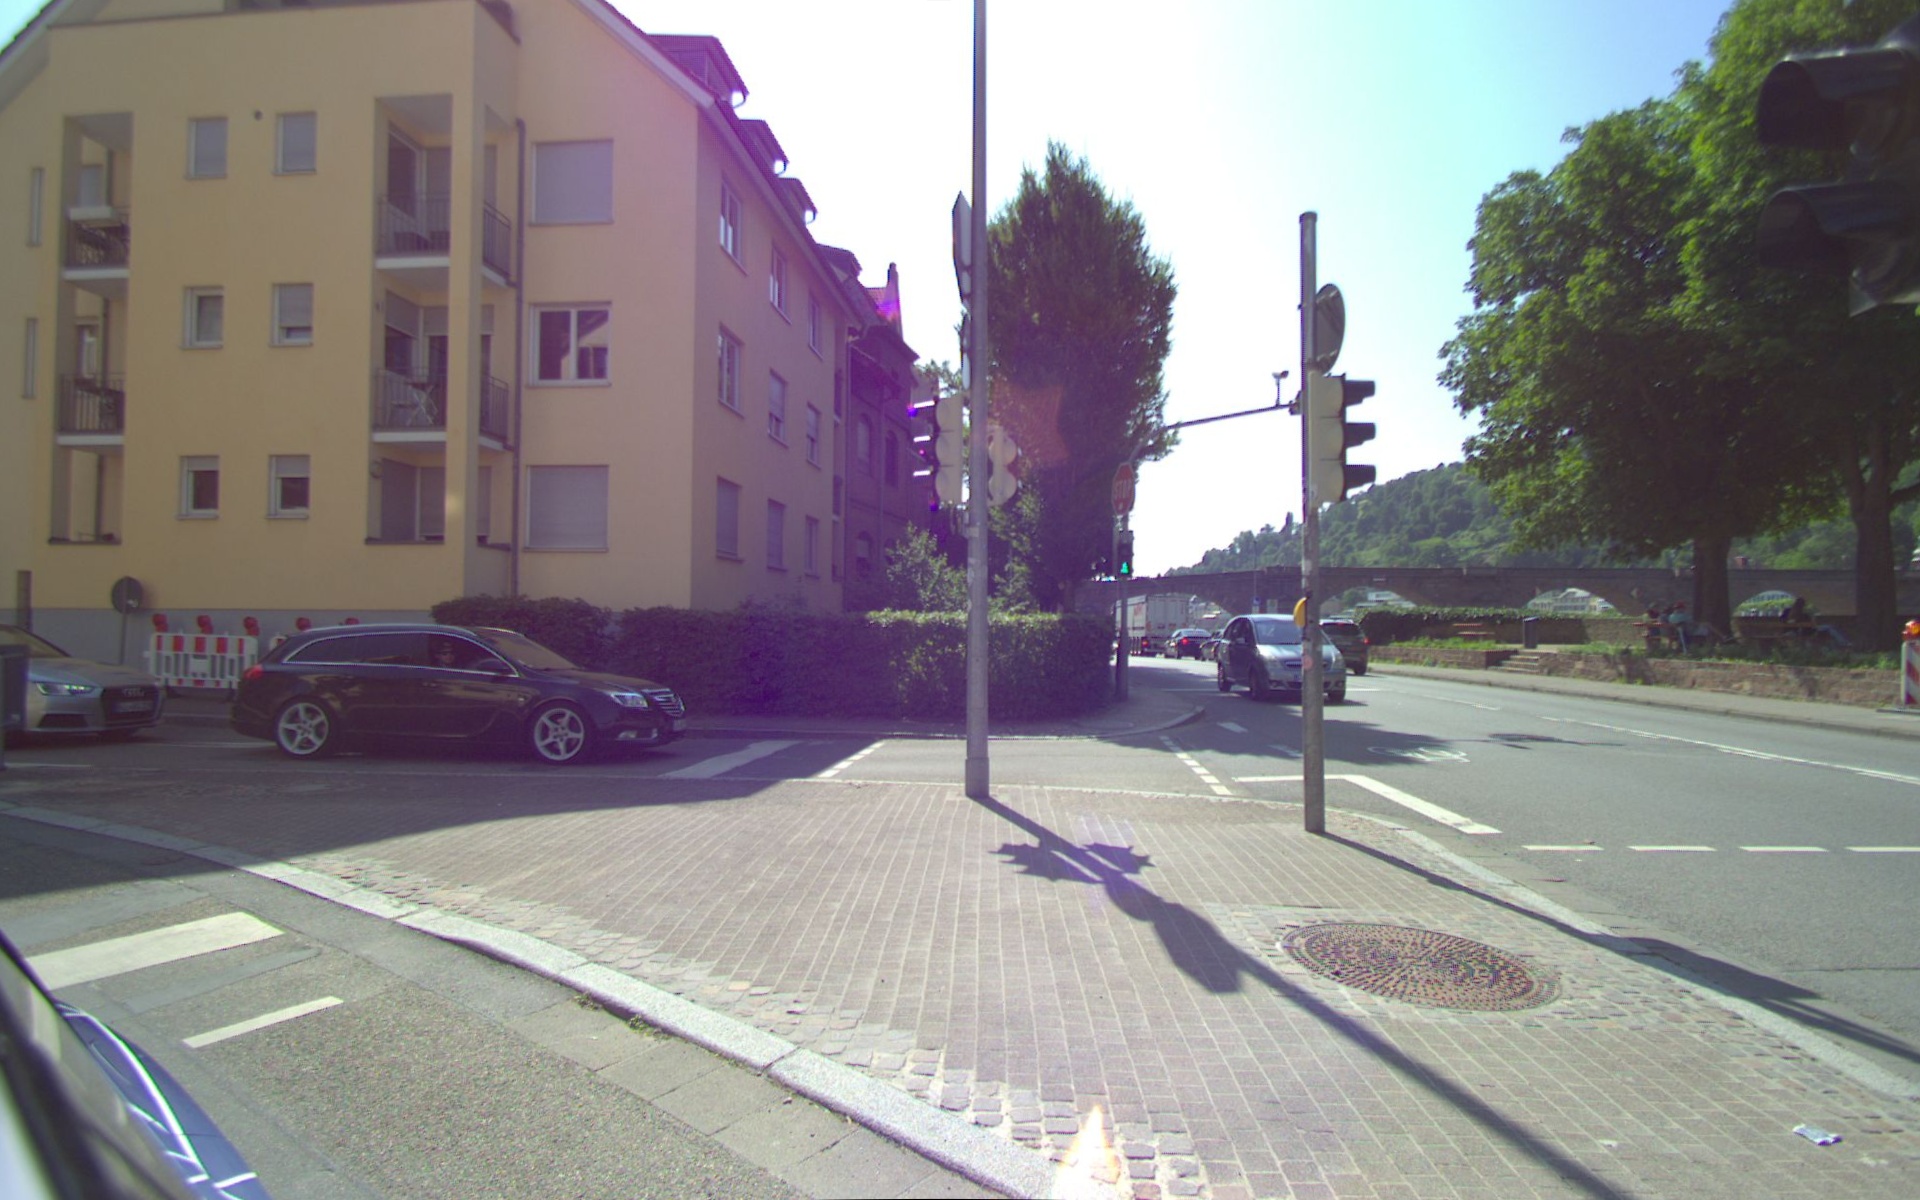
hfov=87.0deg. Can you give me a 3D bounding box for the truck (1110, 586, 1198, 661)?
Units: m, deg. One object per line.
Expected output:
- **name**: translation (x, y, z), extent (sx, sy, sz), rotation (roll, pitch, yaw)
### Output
- **truck**: translation (12.023, 1.523, 64.016), extent (3.169, 4.246, 12.762), rotation (1, -2, 0)

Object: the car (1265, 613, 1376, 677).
- **car**: translation (11.224, 1.347, 31.869), extent (1.818, 1.766, 4.409), rotation (3, -1, 0)

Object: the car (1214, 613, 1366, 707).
- **car**: translation (6.278, 1.102, 19.692), extent (1.669, 1.623, 3.739), rotation (-1, -1, -1)

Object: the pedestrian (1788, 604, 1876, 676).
- **pedestrian**: translation (18.473, 0.844, 21.455), extent (1.368, 1.490, 0.467), rotation (1, -2, 7)

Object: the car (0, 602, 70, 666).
- **car**: translation (-24.115, 0.815, 24.291), extent (1.829, 1.556, 3.994), rotation (0, -1, 5)

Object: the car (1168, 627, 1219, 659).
- **car**: translation (11.618, 2.134, 50.528), extent (1.900, 1.519, 3.994), rotation (0, -2, 4)

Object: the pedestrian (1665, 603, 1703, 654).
- **pedestrian**: translation (18.466, 0.715, 25.833), extent (0.624, 1.280, 0.467), rotation (1, -2, 7)

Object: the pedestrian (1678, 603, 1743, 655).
- **pedestrian**: translation (18.725, 0.717, 25.252), extent (1.209, 1.280, 0.467), rotation (1, -2, 7)

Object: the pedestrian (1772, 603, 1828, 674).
- **pedestrian**: translation (18.276, 0.835, 22.027), extent (0.795, 1.504, 0.467), rotation (1, -2, 7)

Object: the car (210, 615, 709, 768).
- **car**: translation (-5.328, 0.973, 11.176), extent (4.661, 1.473, 1.718), rotation (1, -4, 2)

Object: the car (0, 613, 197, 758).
- **car**: translation (-11.600, 0.895, 11.609), extent (4.324, 1.504, 1.876), rotation (1, -2, 2)

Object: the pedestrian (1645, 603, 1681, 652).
- **pedestrian**: translation (18.552, 0.715, 26.714), extent (0.624, 1.280, 0.467), rotation (1, -2, 7)

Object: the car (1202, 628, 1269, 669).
- **car**: translation (11.572, 1.998, 42.712), extent (1.974, 1.608, 3.994), rotation (0, -2, 4)
